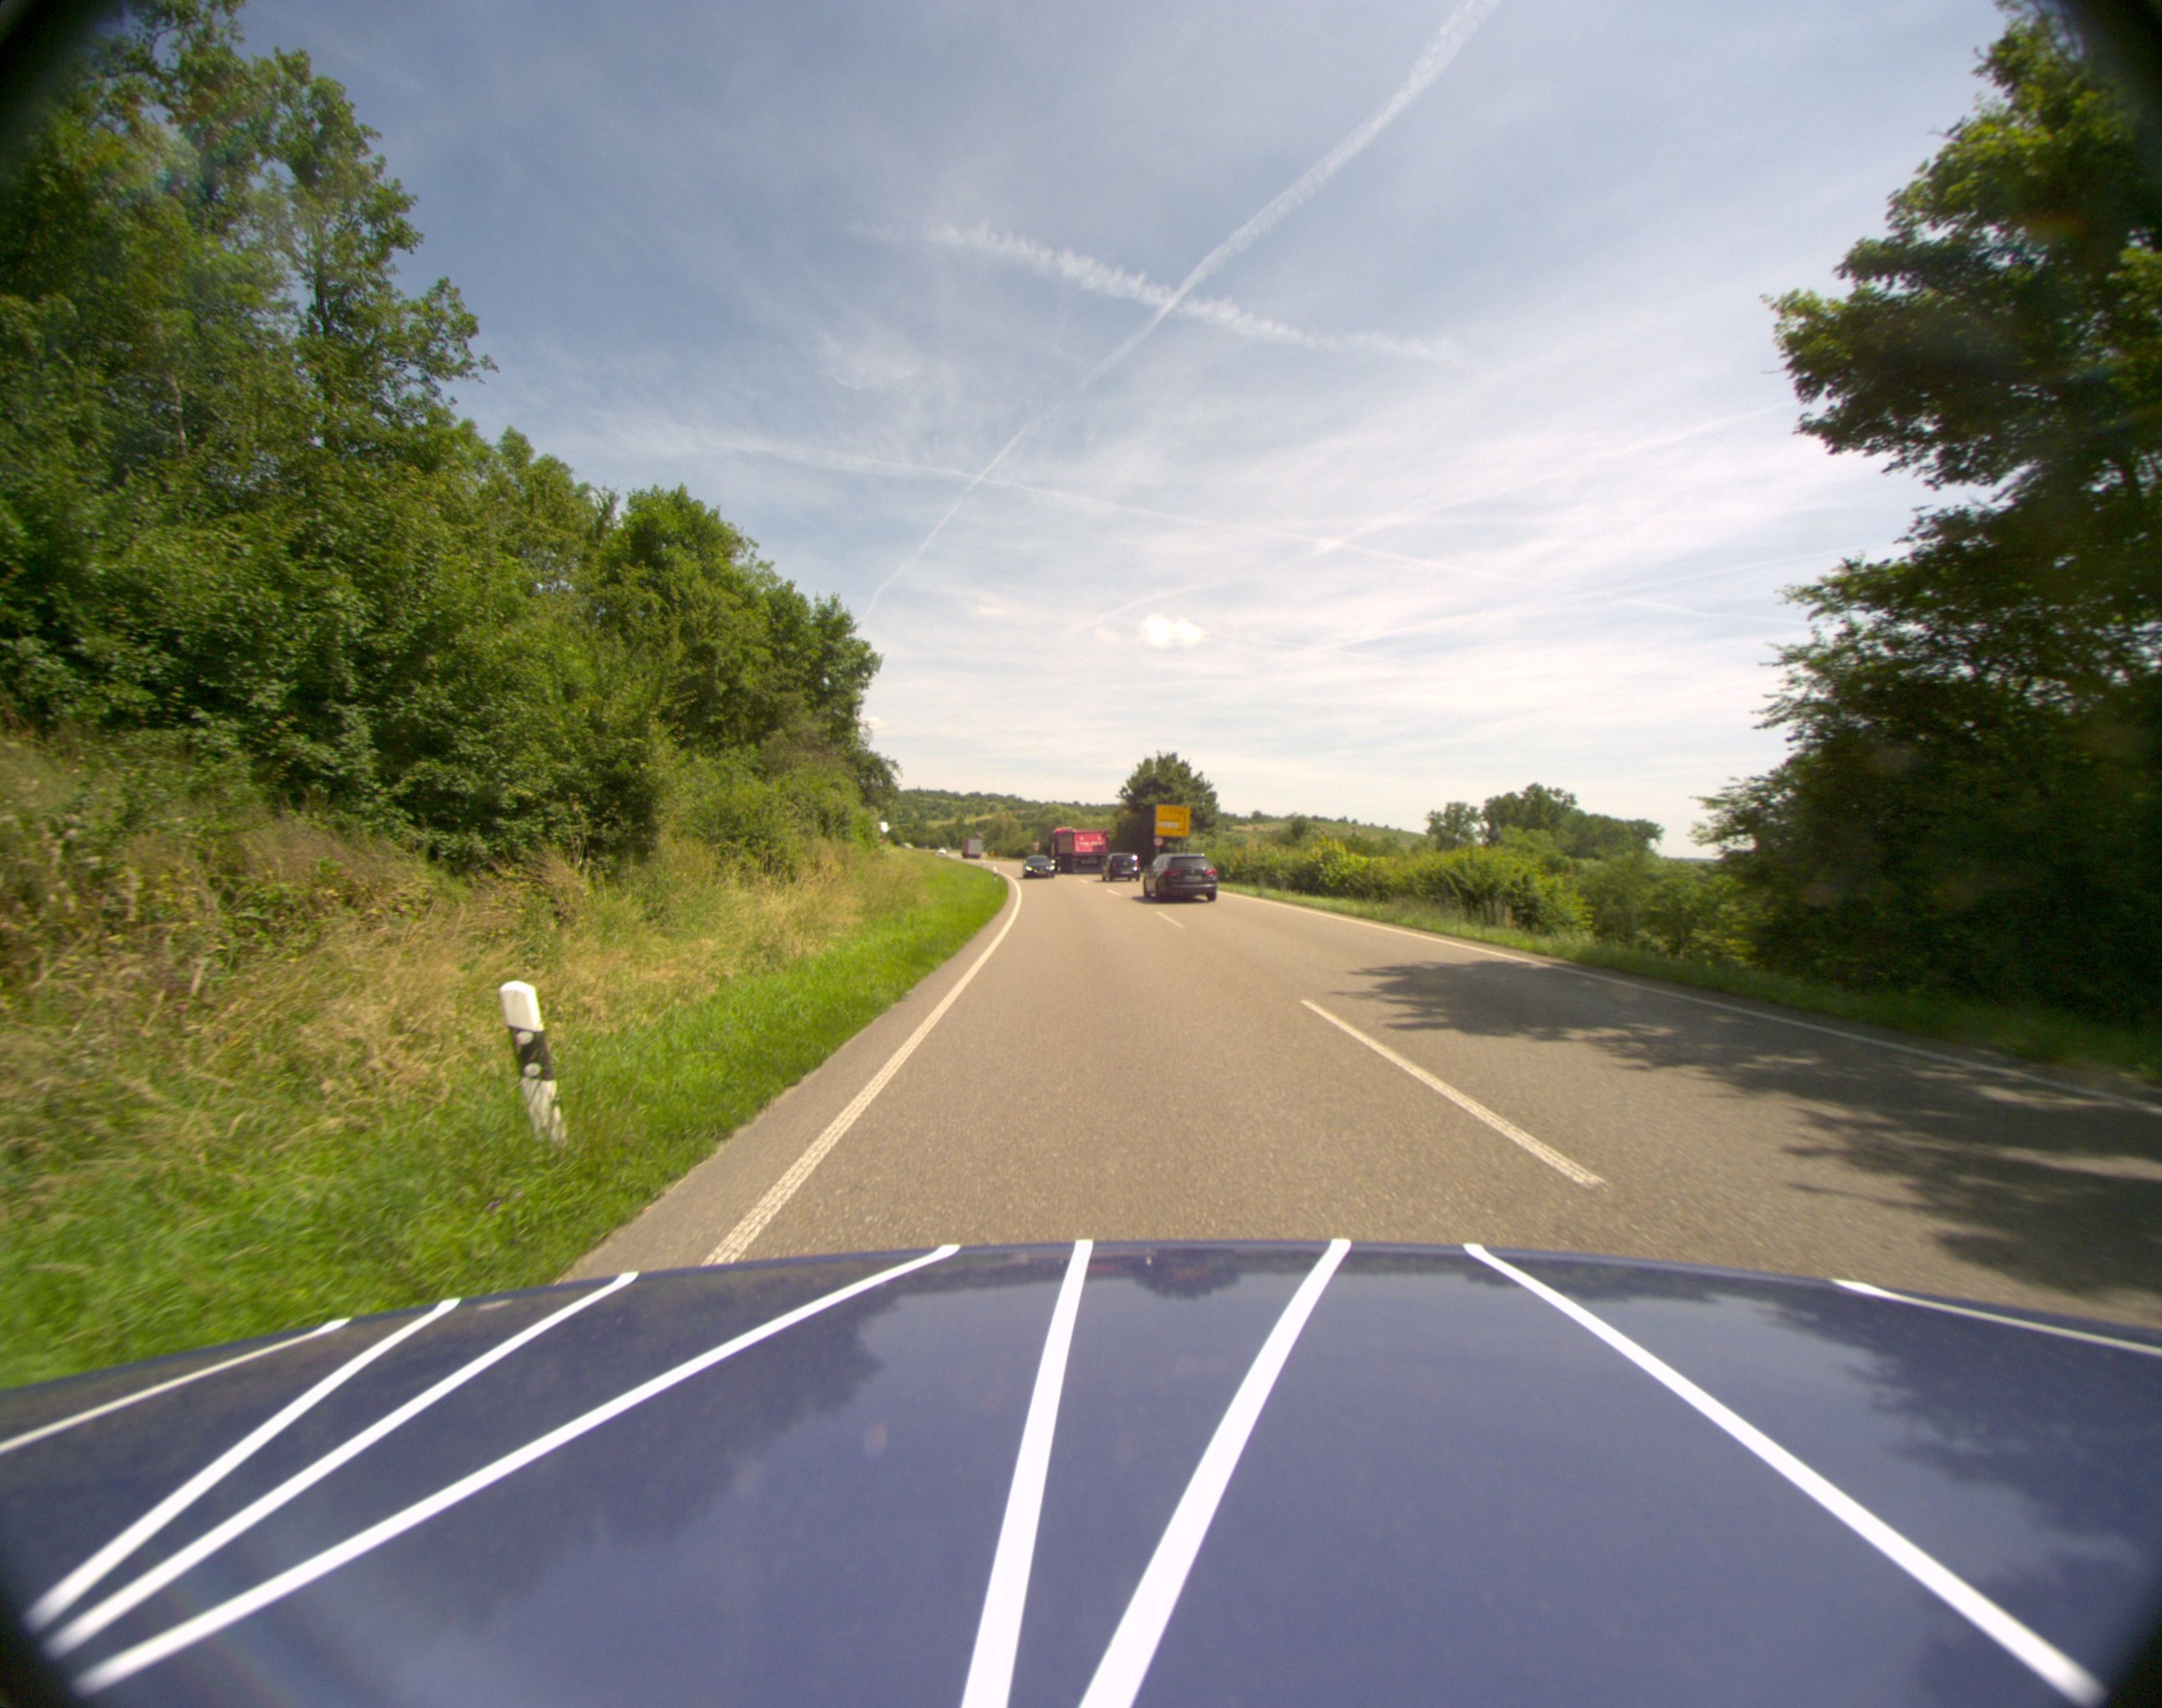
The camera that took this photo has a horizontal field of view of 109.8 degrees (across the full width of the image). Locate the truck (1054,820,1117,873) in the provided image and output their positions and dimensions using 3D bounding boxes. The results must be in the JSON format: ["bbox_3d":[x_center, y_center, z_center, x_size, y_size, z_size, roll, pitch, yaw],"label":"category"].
[{"bbox_3d":[0.097,-0.509,56.663,2.561,3.432,12.623,-2,0,-9],"label":"truck"}]

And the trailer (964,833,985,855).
[{"bbox_3d":[-20.974,-1.909,149.180,2.578,4.084,13.643,-1,1,-14],"label":"trailer"}]

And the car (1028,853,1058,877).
[{"bbox_3d":[-2.496,0.666,48.811,1.786,1.440,4.602,-1,0,-5],"label":"car"}]

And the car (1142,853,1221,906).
[{"bbox_3d":[3.053,0.716,23.968,1.714,1.462,4.373,-1,0,-3],"label":"car"}]

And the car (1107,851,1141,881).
[{"bbox_3d":[2.223,0.615,40.081,1.433,1.462,3.271,-1,1,-3],"label":"car"}]

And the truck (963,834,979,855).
[{"bbox_3d":[-22.678,-1.961,156.048,2.568,4.092,5.791,-1,1,-14],"label":"truck"}]
